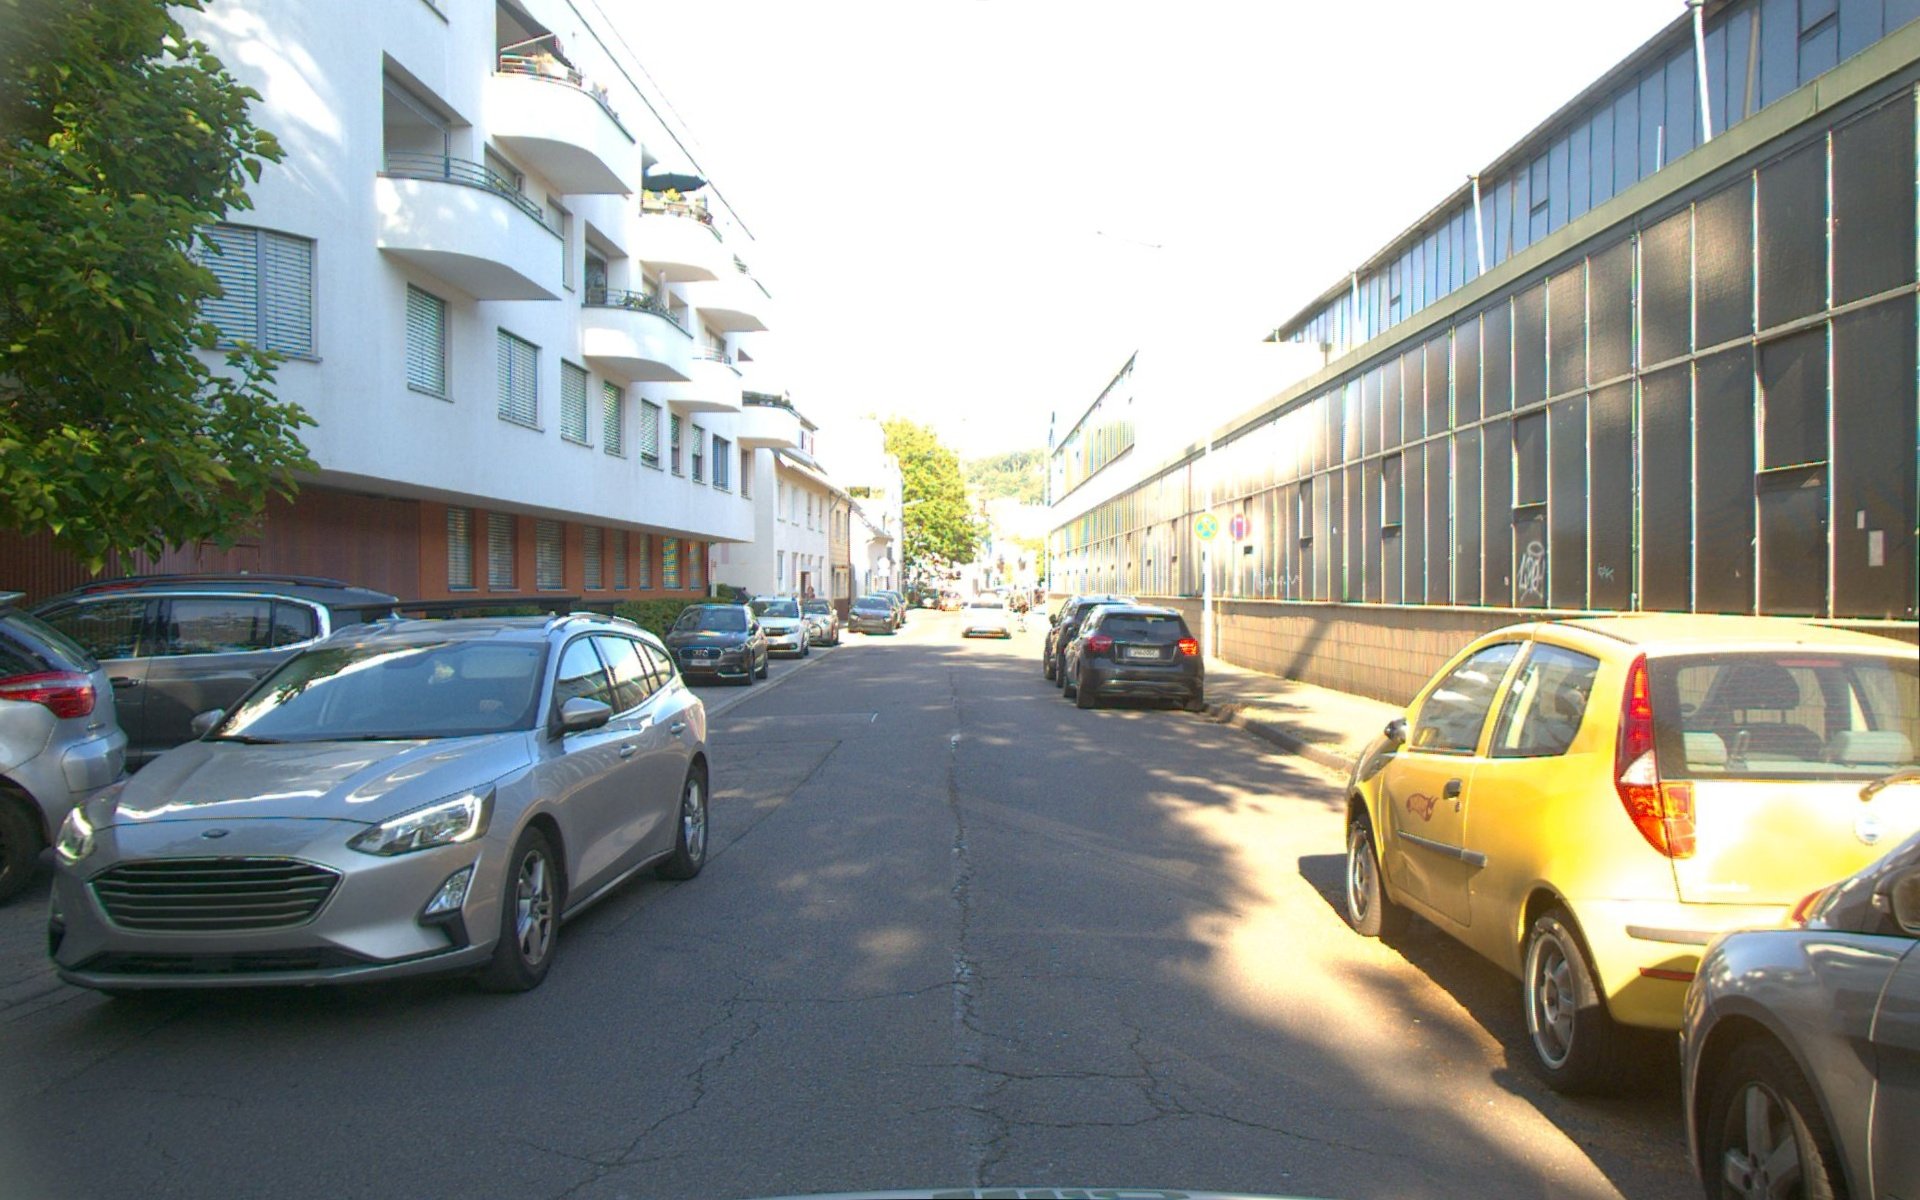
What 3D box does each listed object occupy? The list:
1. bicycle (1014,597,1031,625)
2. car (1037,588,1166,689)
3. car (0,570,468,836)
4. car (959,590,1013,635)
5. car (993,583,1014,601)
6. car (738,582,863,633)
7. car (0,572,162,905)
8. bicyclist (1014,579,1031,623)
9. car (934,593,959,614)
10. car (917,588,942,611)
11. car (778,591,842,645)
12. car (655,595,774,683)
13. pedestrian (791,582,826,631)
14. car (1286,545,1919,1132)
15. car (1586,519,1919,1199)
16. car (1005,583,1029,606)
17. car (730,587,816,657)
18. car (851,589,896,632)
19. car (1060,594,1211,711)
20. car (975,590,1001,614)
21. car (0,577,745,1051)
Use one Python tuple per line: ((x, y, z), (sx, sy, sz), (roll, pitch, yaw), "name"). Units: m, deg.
((2.599, 0.462, 69.205), (0.684, 1.150, 2.403), (1, 0, 2), "bicycle")
((2.472, 0.660, 29.892), (1.770, 1.615, 4.403), (2, 0, -2), "car")
((-5.657, 0.671, 11.711), (3.902, 1.691, 1.684), (2, -1, -28), "car")
((0.906, 0.429, 59.610), (1.804, 1.517, 4.144), (1, 0, 0), "car")
((3.945, -0.683, 148.923), (1.804, 1.517, 4.145), (1, 0, 2), "car")
((-5.609, 0.270, 58.470), (4.234, 1.562, 1.689), (3, 0, -2), "car")
((-6.424, 0.651, 8.507), (4.073, 1.669, 1.763), (2, -1, -25), "car")
((2.611, 0.047, 69.317), (0.684, 1.821, 1.041), (1, -1, 2), "bicyclist")
((-0.992, 0.300, 126.202), (1.804, 1.517, 4.144), (1, 0, 0), "car")
((-2.515, -0.048, 138.859), (1.814, 1.823, 4.609), (1, 0, 2), "car")
((-4.677, 0.552, 51.956), (1.633, 1.562, 3.856), (2, 0, 0), "car")
((-4.477, 0.689, 30.624), (1.640, 1.458, 3.770), (2, 0, -1), "car")
((-5.994, 0.262, 65.596), (0.844, 1.850, 1.131), (4, 1, 24), "pedestrian")
((2.676, 0.704, 6.753), (1.715, 1.663, 3.999), (1, 0, -3), "car")
((2.583, 0.704, 2.338), (1.715, 1.663, 4.308), (1, 0, 0), "car")
((4.147, -0.378, 121.542), (1.596, 1.615, 4.069), (-2, 0, 0), "car")
((-4.743, 0.548, 42.536), (1.820, 1.615, 4.619), (2, 0, -3), "car")
((-3.396, 0.405, 64.715), (1.651, 1.562, 4.332), (2, 0, -3), "car")
((2.510, 0.724, 24.707), (1.715, 1.517, 4.621), (2, 0, 0), "car")
((2.184, 0.118, 129.665), (1.815, 1.823, 4.606), (1, 0, -1), "car")
((-2.424, 0.730, 7.892), (1.860, 1.563, 4.623), (-2, 0, 4), "car")
